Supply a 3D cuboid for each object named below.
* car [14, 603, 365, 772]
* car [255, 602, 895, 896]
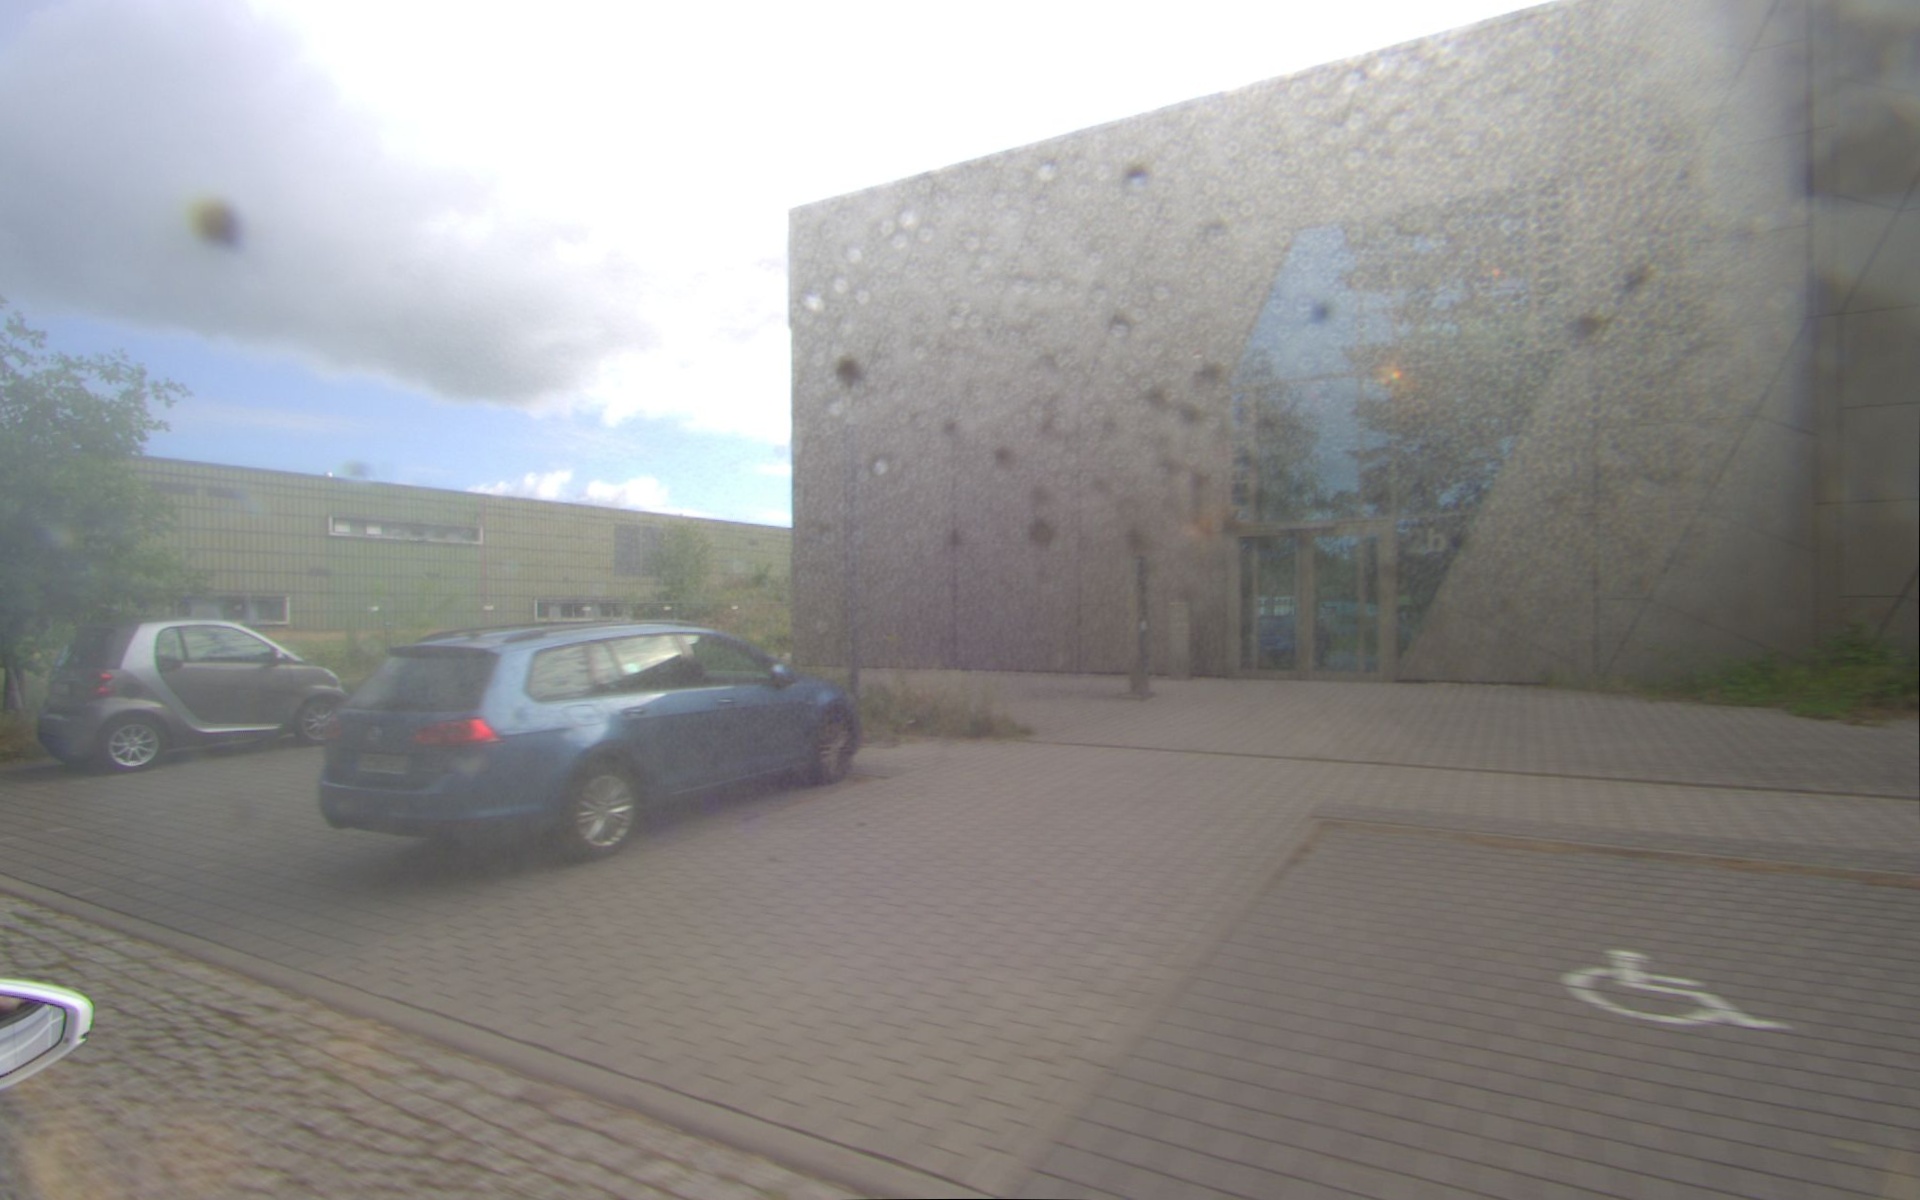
[{"bbox_3d":[-8.695,0.872,11.485,1.657,1.603,2.736,0,2,30],"label":"car"},{"bbox_3d":[-2.514,0.816,7.836,1.902,1.469,4.519,0,1,28],"label":"car"}]
